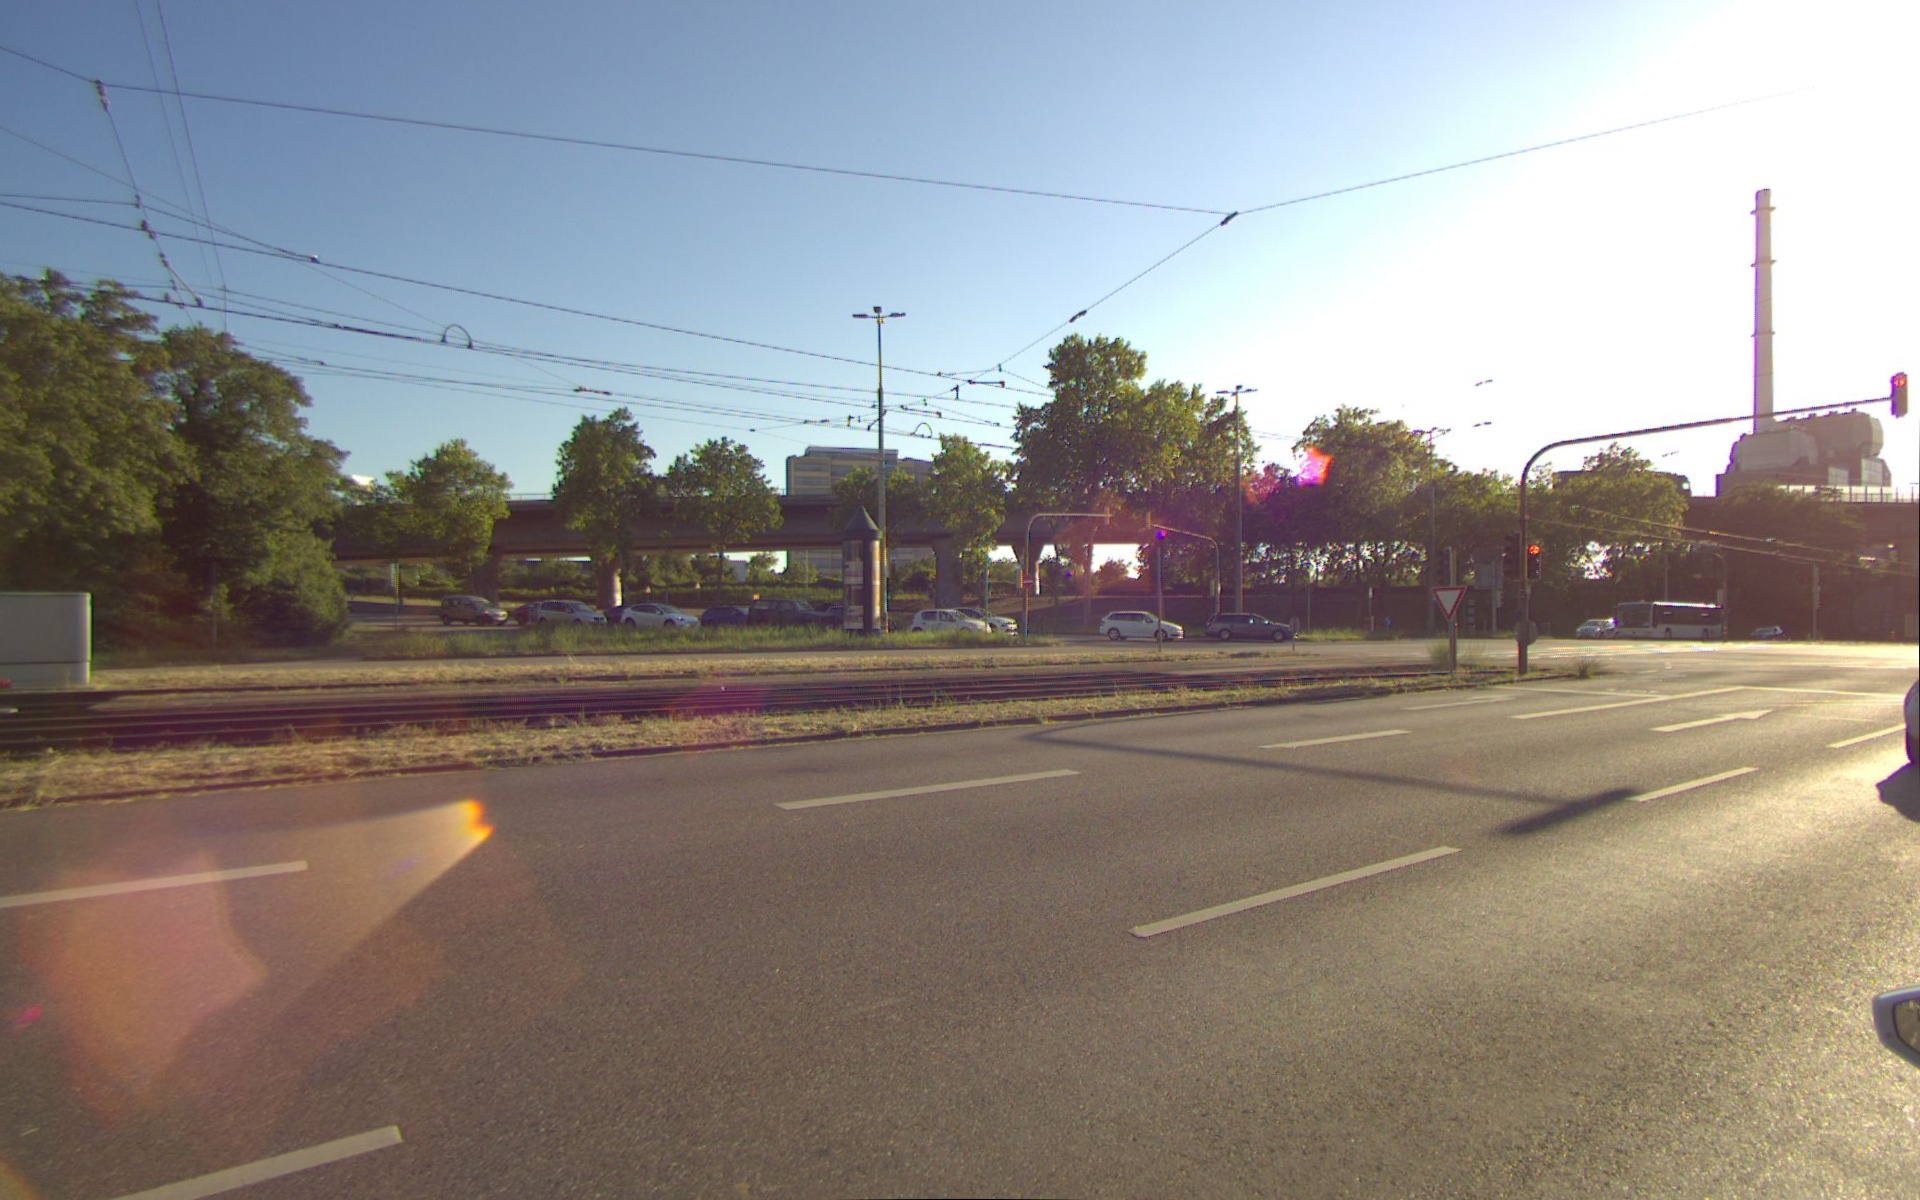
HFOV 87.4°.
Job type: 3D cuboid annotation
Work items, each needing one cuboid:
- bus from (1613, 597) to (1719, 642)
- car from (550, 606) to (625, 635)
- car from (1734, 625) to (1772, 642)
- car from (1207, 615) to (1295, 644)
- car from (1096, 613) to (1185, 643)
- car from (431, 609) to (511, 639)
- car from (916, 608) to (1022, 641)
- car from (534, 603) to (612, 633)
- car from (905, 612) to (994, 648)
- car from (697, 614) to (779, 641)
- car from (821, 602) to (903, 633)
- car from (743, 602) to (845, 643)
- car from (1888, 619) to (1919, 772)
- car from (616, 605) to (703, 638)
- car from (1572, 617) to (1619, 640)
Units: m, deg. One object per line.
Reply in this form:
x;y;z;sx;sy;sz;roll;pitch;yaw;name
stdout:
55.637;1.611;78.977;12.785;3.171;2.528;2;-2;-34;bus
-23.164;1.270;62.476;4.327;1.701;1.693;1;0;20;car
70.558;2.993;89.336;3.967;1.438;1.596;1;0;-35;car
15.208;1.512;52.723;4.355;1.423;1.671;1;0;15;car
9.120;1.390;50.675;4.118;1.423;1.669;1;0;26;car
-29.846;1.440;61.299;4.325;1.701;1.694;1;0;15;car
0.447;1.207;51.260;5.273;1.596;1.737;0;0;31;car
-22.396;1.054;58.123;4.205;1.653;1.693;0;0;24;car
-0.492;1.399;47.891;3.928;1.596;1.691;0;0;29;car
-12.851;1.561;58.224;4.537;1.478;1.692;0;0;24;car
-5.322;0.913;54.429;4.171;1.596;1.691;0;0;27;car
-8.516;1.137;51.653;4.849;2.017;2.036;0;0;23;car
11.613;0.972;10.846;3.964;1.525;1.723;0;-1;-38;car
-16.645;1.148;55.556;4.678;1.596;1.692;2;1;26;car
45.424;2.022;71.799;3.973;1.532;1.594;1;0;-38;car
